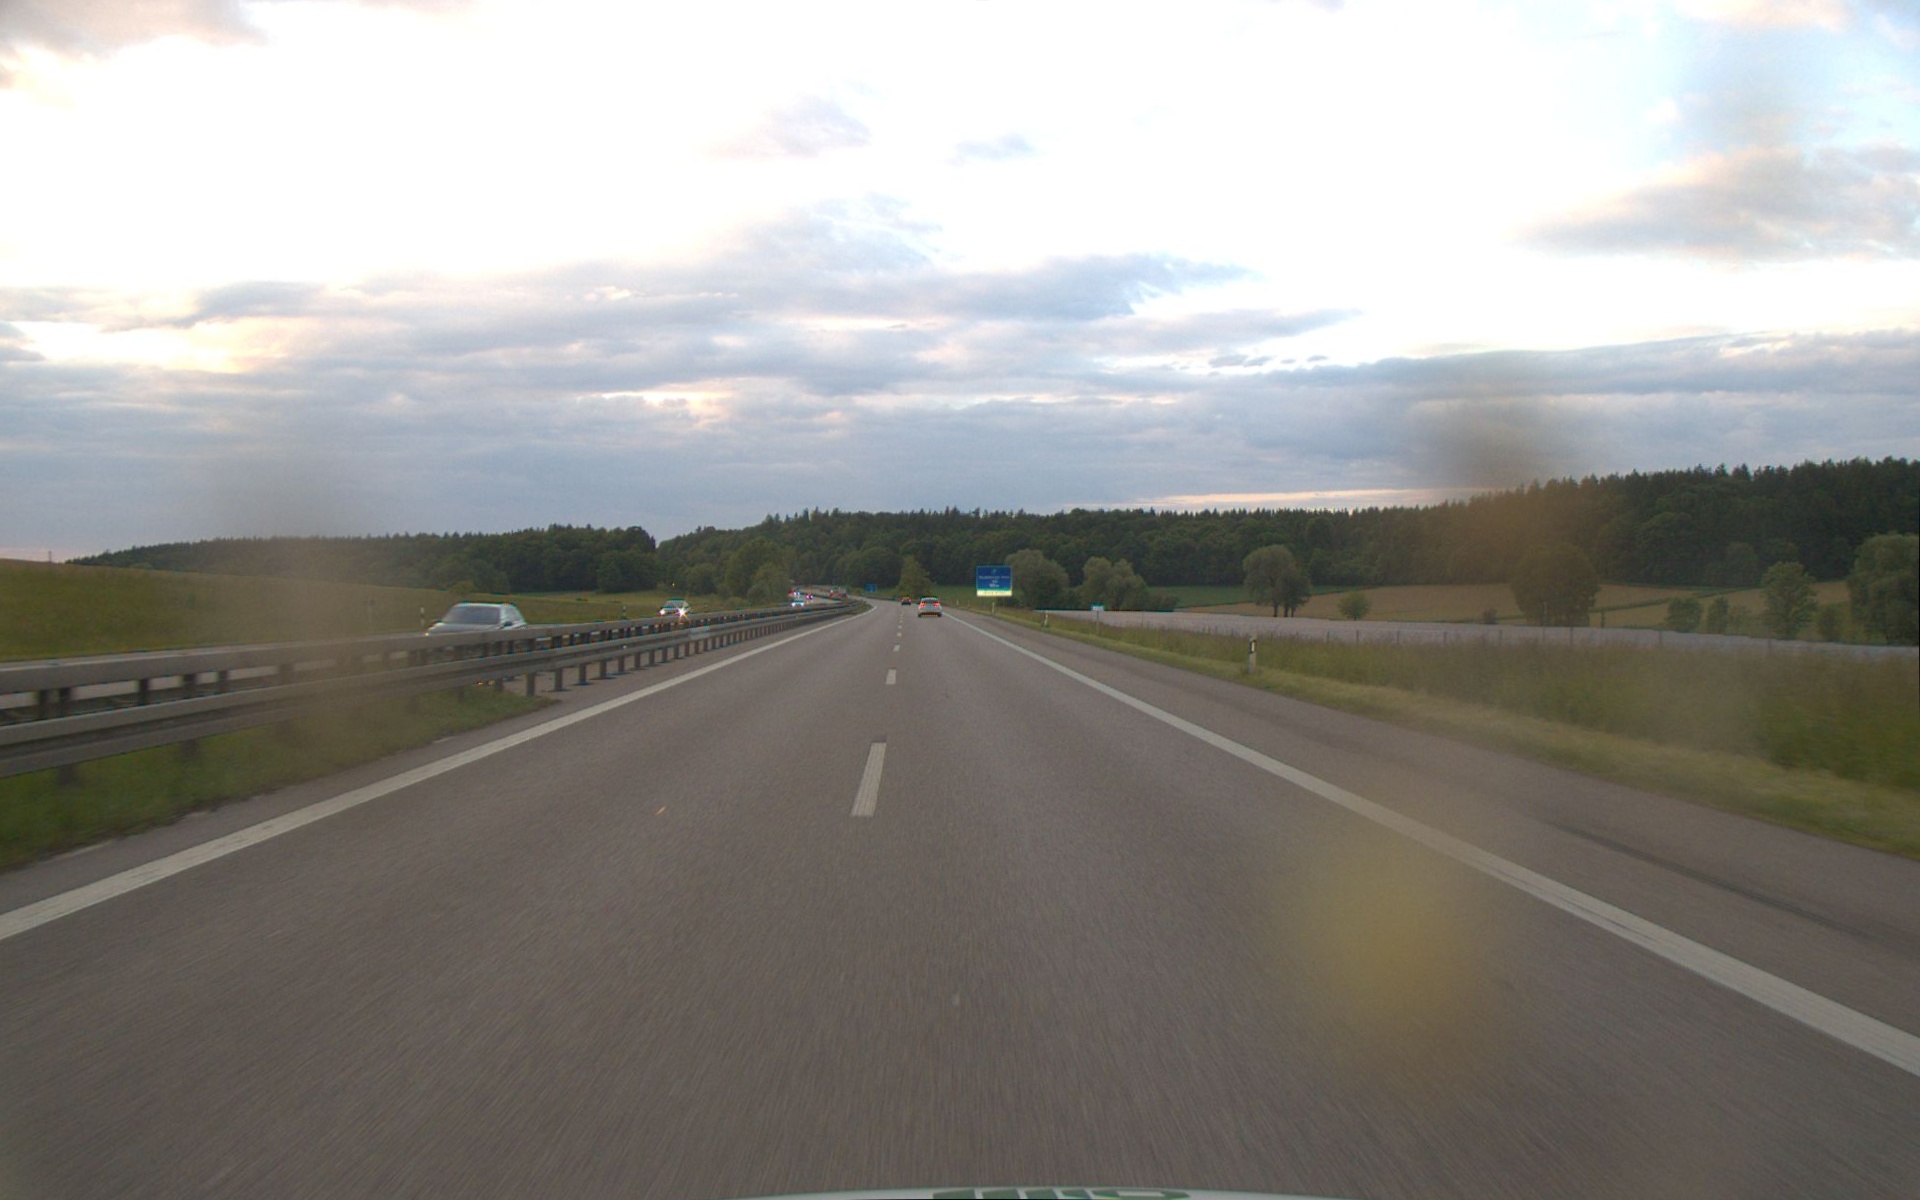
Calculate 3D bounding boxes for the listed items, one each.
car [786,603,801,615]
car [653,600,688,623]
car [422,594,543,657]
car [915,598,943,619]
[{"bbox_3d":[-24.532,1.296,244.106,1.754,1.729,4.588,2,0,-2],"label":"car"},{"bbox_3d":[-18.970,0.727,108.473,1.640,1.384,4.009,3,0,-2],"label":"car"},{"bbox_3d":[-12.292,0.615,42.886,1.703,1.482,5.120,2,0,-1],"label":"car"},{"bbox_3d":[-2.424,0.666,128.417,1.913,1.558,4.077,2,0,-4],"label":"car"}]
